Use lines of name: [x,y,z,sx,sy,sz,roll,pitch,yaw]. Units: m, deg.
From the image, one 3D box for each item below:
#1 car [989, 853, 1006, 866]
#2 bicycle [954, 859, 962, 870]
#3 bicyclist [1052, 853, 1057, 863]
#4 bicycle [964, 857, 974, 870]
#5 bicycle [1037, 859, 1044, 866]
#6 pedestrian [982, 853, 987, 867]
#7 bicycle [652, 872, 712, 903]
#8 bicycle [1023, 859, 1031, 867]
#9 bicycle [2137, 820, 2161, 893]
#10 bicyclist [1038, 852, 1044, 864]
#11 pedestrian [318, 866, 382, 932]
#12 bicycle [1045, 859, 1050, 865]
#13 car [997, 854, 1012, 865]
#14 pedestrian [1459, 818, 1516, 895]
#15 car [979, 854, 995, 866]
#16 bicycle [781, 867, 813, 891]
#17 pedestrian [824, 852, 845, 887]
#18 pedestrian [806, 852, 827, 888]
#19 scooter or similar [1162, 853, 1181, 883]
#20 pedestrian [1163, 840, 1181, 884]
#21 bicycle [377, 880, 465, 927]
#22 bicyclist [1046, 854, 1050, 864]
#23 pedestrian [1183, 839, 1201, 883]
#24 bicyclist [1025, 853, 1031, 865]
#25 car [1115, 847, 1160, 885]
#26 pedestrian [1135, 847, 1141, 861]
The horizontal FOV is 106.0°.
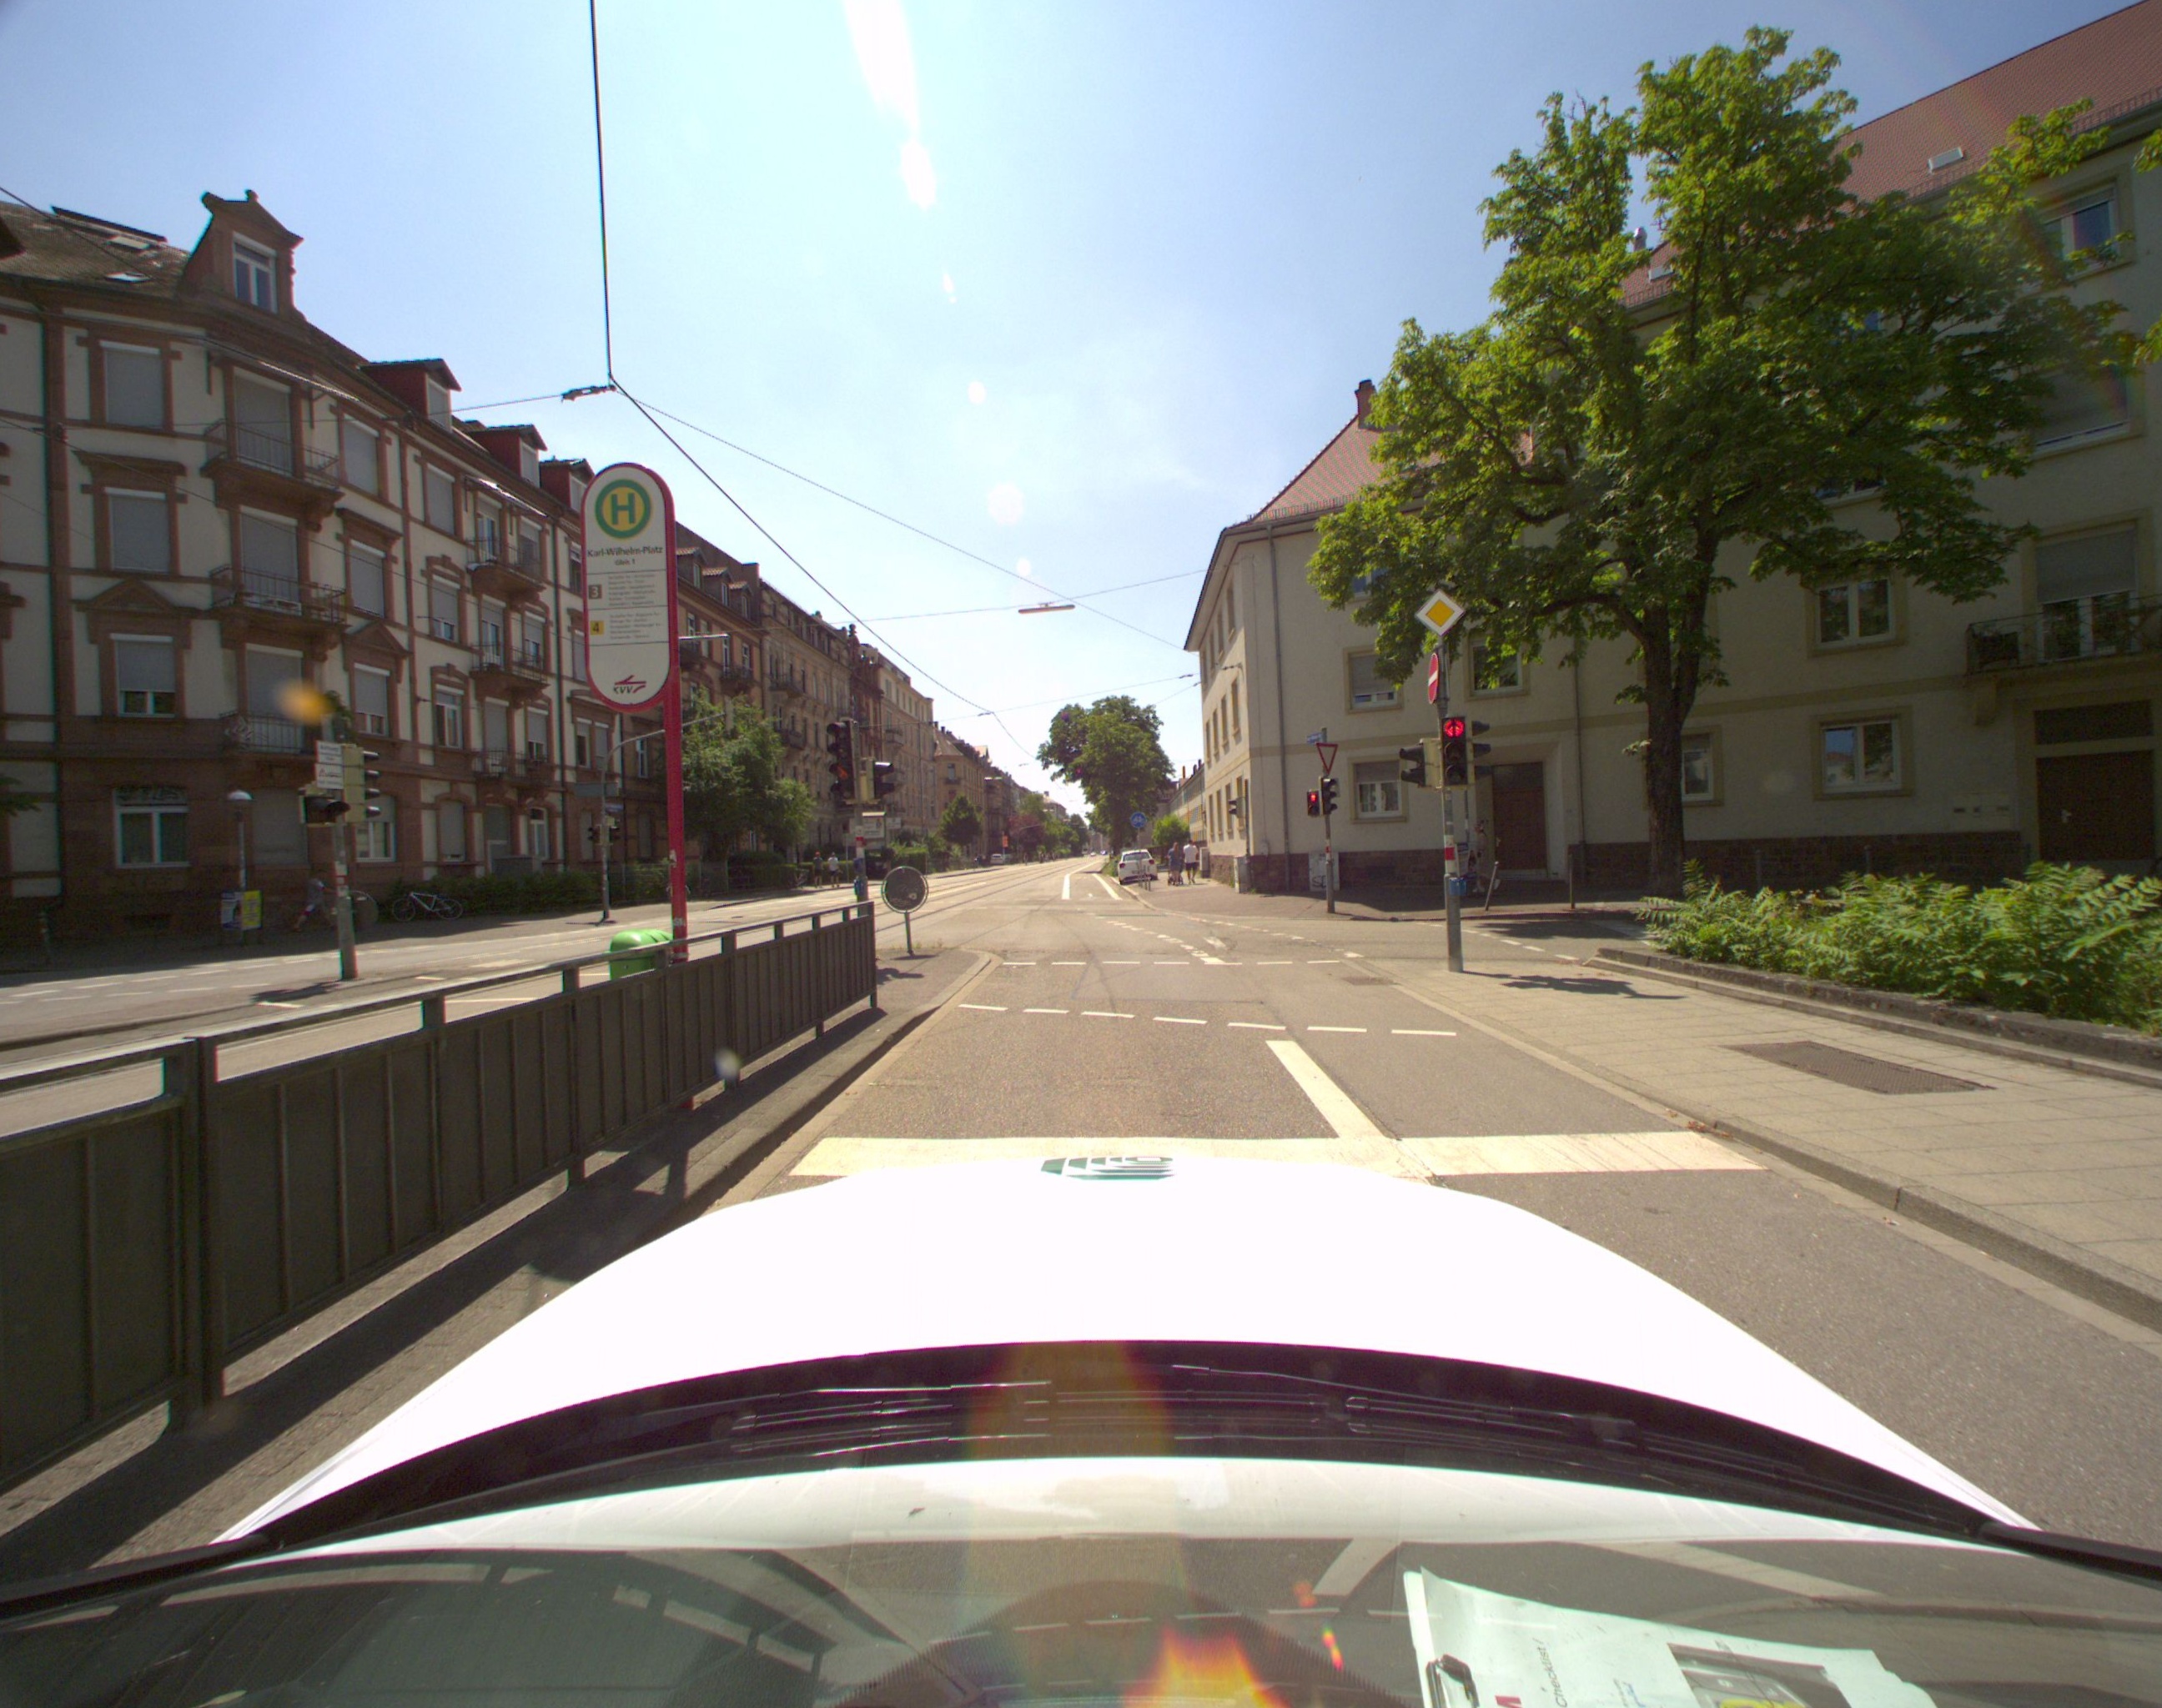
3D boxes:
car: [-11.878,0.801,116.068,1.912,1.715,4.001,0,-1,2]
bicycle: [-12.151,1.025,80.502,0.677,1.064,1.912,-2,0,-9]
bicyclist: [-4.860,0.784,148.057,0.724,1.818,1.080,0,-1,3]
bicycle: [-11.707,0.951,85.139,0.675,1.278,1.918,-2,0,-1]
bicycle: [-6.203,1.321,125.193,0.724,1.123,2.087,0,-1,4]
pedestrian: [-11.046,0.688,93.289,0.519,1.659,0.529,-2,0,1]
bicycle: [-15.666,1.300,32.085,0.934,1.136,2.774,0,-1,1]
bicycle: [-7.381,1.243,111.479,0.724,1.123,2.087,0,-1,4]
bicycle: [17.014,0.024,12.087,0.527,1.104,1.589,-2,0,-34]
bicyclist: [-6.195,0.639,125.296,0.724,1.768,1.080,0,-1,3]
pedestrian: [-19.841,1.201,22.111,0.713,1.689,1.068,-2,0,28]
bicycle: [-6.044,1.506,148.044,0.724,1.123,2.087,0,-1,4]
car: [-11.658,0.866,124.332,1.912,1.715,4.001,0,-1,2]
pedestrian: [9.723,0.049,19.486,1.044,1.690,0.657,-6,3,26]
car: [-14.330,0.886,124.470,1.912,1.715,4.001,0,-1,2]
bicycle: [-14.384,1.253,41.260,0.936,1.136,2.767,0,-1,-7]
pedestrian: [-12.983,0.817,42.908,0.814,1.822,0.873,0,1,-1]
pedestrian: [-13.884,0.831,42.709,0.814,1.822,0.873,0,1,-1]
scooter or similar: [3.556,0.541,31.902,0.553,1.155,1.210,-1,-1,14]
pedestrian: [3.460,0.305,30.996,0.555,1.645,0.676,0,-1,-2]
bicycle: [-19.551,1.438,24.163,0.557,1.294,1.975,-1,-1,43]
bicyclist: [-6.025,0.835,148.041,0.724,1.818,1.080,0,-1,3]
pedestrian: [4.255,0.274,31.249,0.555,1.645,0.676,0,-1,-2]
bicyclist: [-7.292,0.719,111.477,0.724,1.629,1.080,0,-1,3]
car: [2.528,0.531,37.409,1.808,1.516,4.001,-4,-1,2]
pedestrian: [6.339,0.002,90.429,0.519,1.562,0.573,-2,0,1]
